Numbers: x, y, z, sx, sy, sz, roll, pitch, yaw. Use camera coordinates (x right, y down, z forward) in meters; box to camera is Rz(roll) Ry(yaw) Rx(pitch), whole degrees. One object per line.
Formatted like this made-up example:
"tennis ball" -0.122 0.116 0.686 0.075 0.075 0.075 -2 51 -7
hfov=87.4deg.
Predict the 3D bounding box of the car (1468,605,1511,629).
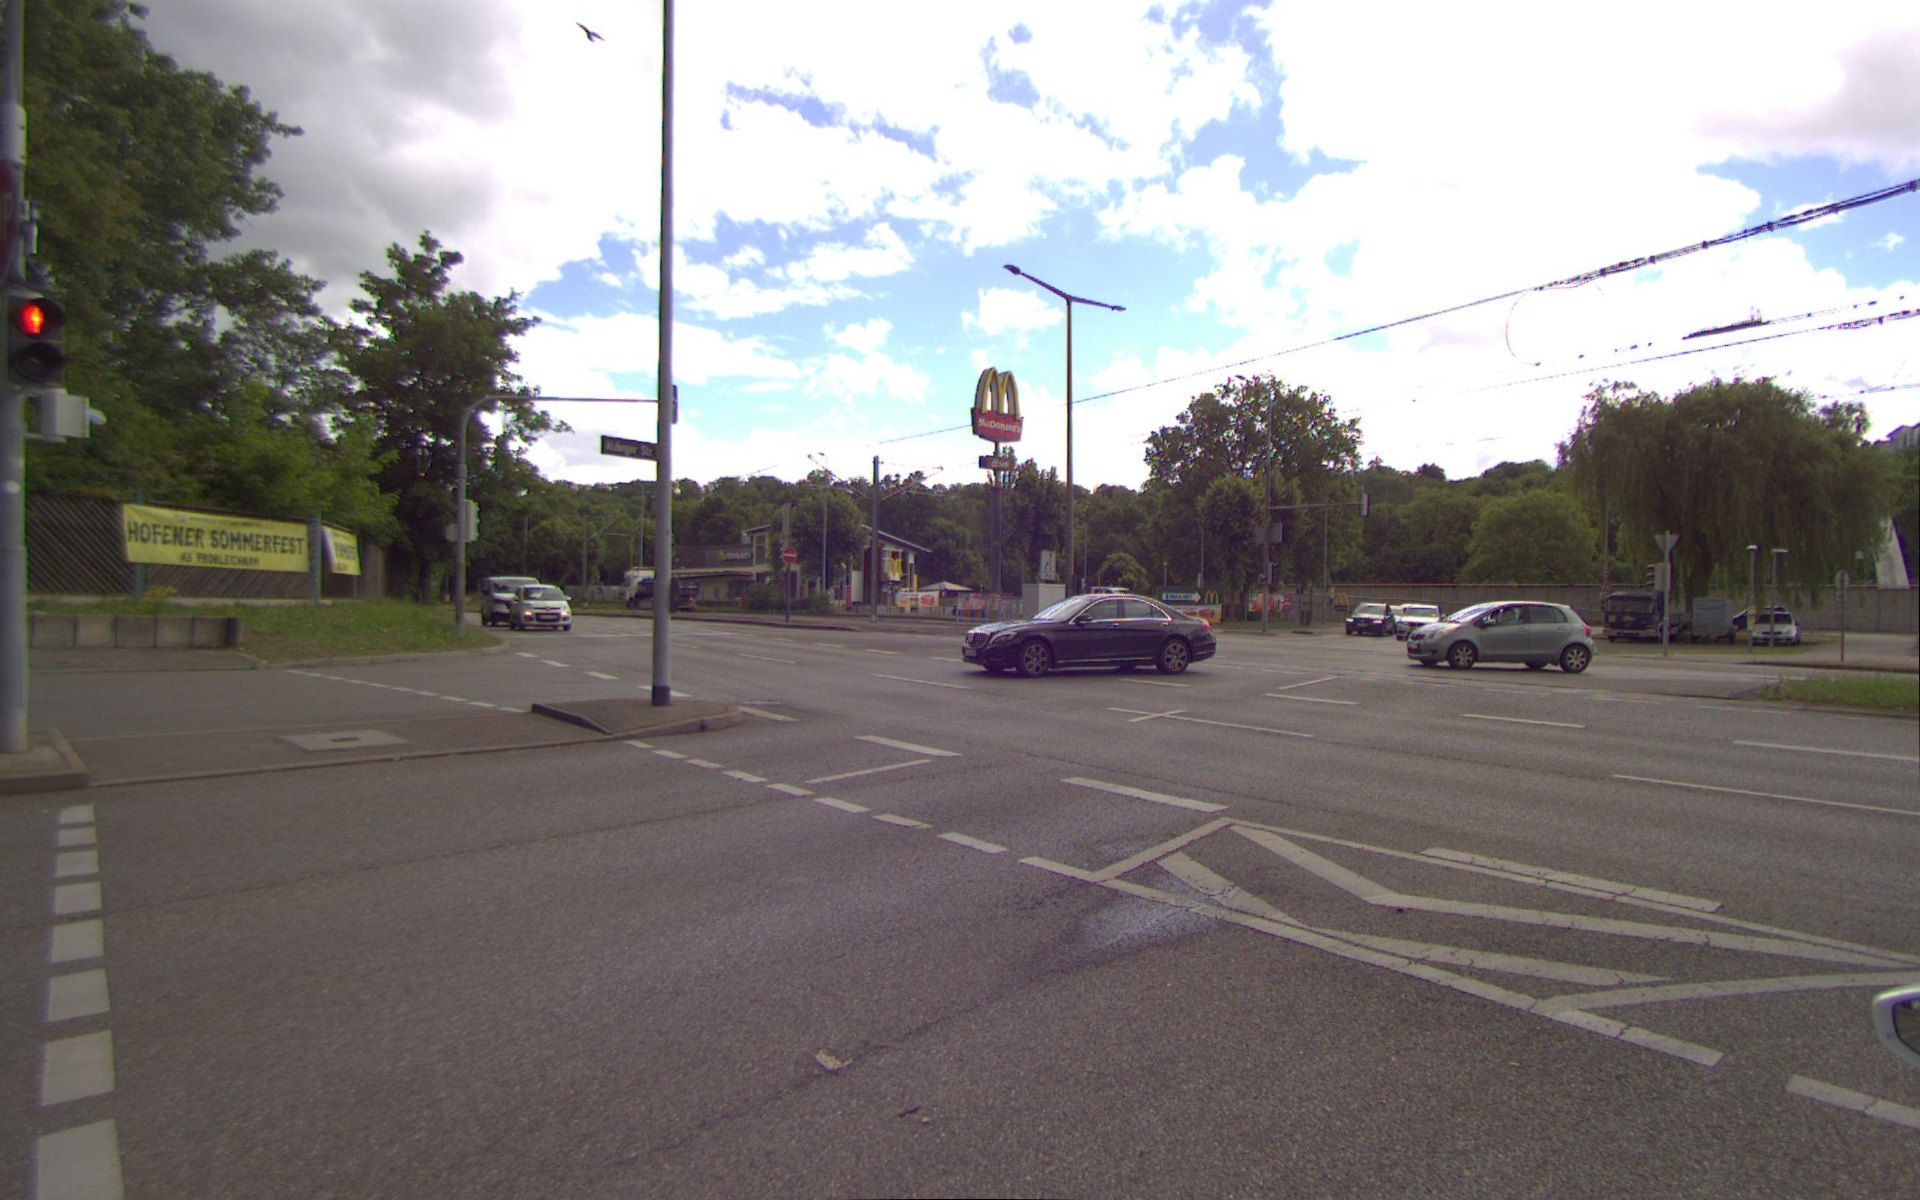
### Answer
"car" 33.460 1.047 63.425 1.767 1.451 4.269 1 0 36

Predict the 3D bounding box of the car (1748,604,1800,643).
"car" 39.749 1.124 49.024 1.730 1.766 3.835 1 0 43

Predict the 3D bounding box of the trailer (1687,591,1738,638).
"trailer" 38.752 0.756 51.699 1.539 2.288 4.365 2 -1 44

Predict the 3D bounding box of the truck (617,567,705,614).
"truck" -24.911 -0.800 83.422 3.415 3.607 8.584 2 -1 -44

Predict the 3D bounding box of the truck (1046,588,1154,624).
"truck" 8.319 0.353 60.200 6.114 1.930 2.585 1 -1 45

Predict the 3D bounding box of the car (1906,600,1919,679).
"car" 22.510 0.880 20.231 4.773 1.664 1.672 1 0 34

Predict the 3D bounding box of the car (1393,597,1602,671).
"car" 11.867 0.731 22.354 3.713 1.507 1.677 1 0 2

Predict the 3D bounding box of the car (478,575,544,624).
"car" -17.813 -0.015 39.754 1.791 1.849 3.963 1 0 -33

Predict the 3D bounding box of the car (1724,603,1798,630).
"car" 51.696 1.070 64.929 3.582 1.575 1.722 2 -1 36

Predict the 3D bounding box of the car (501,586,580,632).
"car" -14.306 0.294 34.147 1.704 1.437 3.962 2 -1 -34

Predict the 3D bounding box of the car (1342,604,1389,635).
"car" 20.679 0.982 51.360 1.760 1.451 3.643 1 0 15

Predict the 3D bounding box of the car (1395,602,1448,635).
"car" 22.022 0.854 47.854 1.765 1.451 4.407 1 0 32

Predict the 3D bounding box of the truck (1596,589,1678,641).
"truck" 35.130 0.743 52.071 5.786 2.527 2.355 1 0 -44

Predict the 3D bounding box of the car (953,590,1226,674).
"car" 2.489 0.601 19.284 4.921 1.470 1.822 1 0 -21
